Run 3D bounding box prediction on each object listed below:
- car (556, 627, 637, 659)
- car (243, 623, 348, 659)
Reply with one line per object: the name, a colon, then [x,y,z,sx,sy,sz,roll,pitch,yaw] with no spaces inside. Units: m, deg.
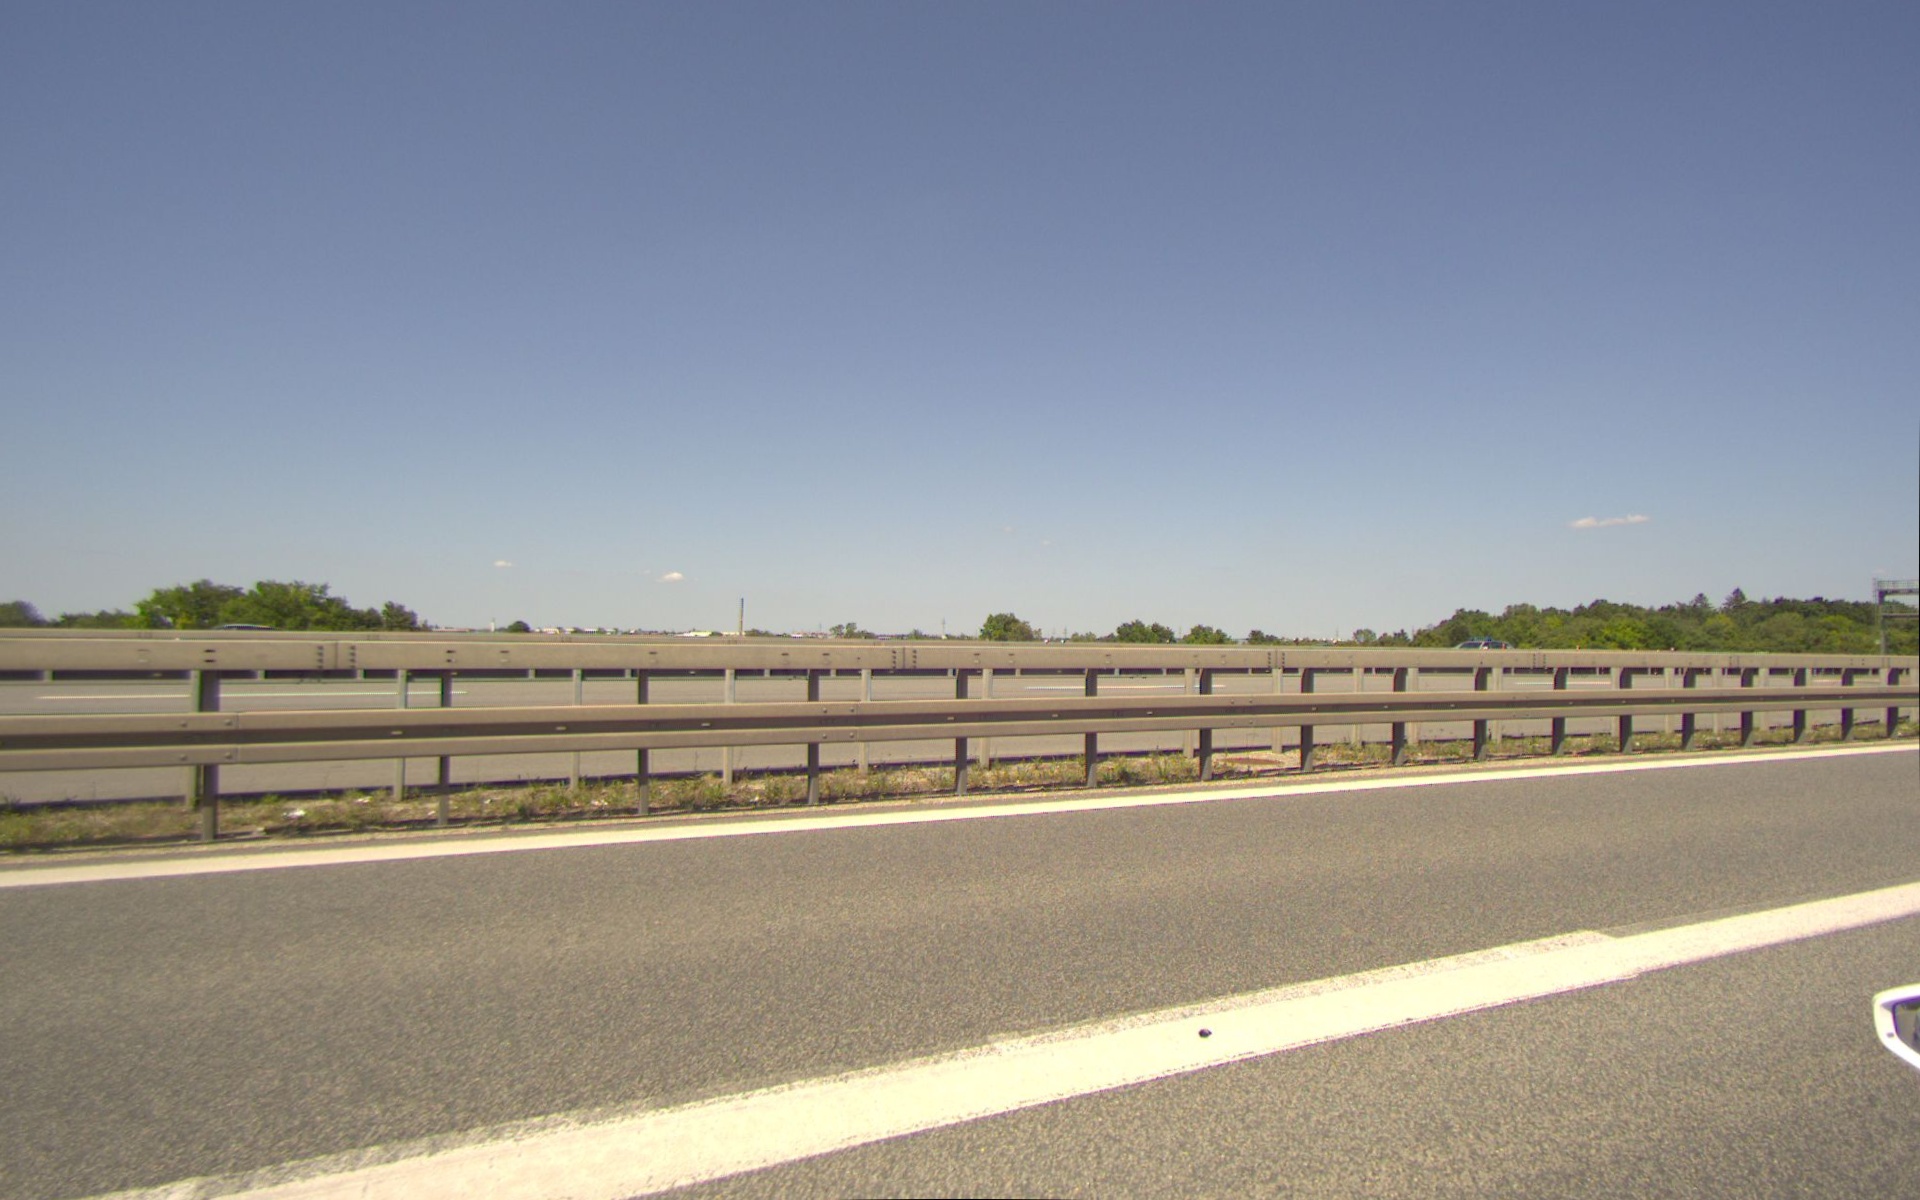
car: [-18.076,2.143,49.962,3.569,1.374,1.619,4,-3,-26]
car: [-29.170,1.828,44.211,3.569,1.374,1.619,4,-3,-26]
